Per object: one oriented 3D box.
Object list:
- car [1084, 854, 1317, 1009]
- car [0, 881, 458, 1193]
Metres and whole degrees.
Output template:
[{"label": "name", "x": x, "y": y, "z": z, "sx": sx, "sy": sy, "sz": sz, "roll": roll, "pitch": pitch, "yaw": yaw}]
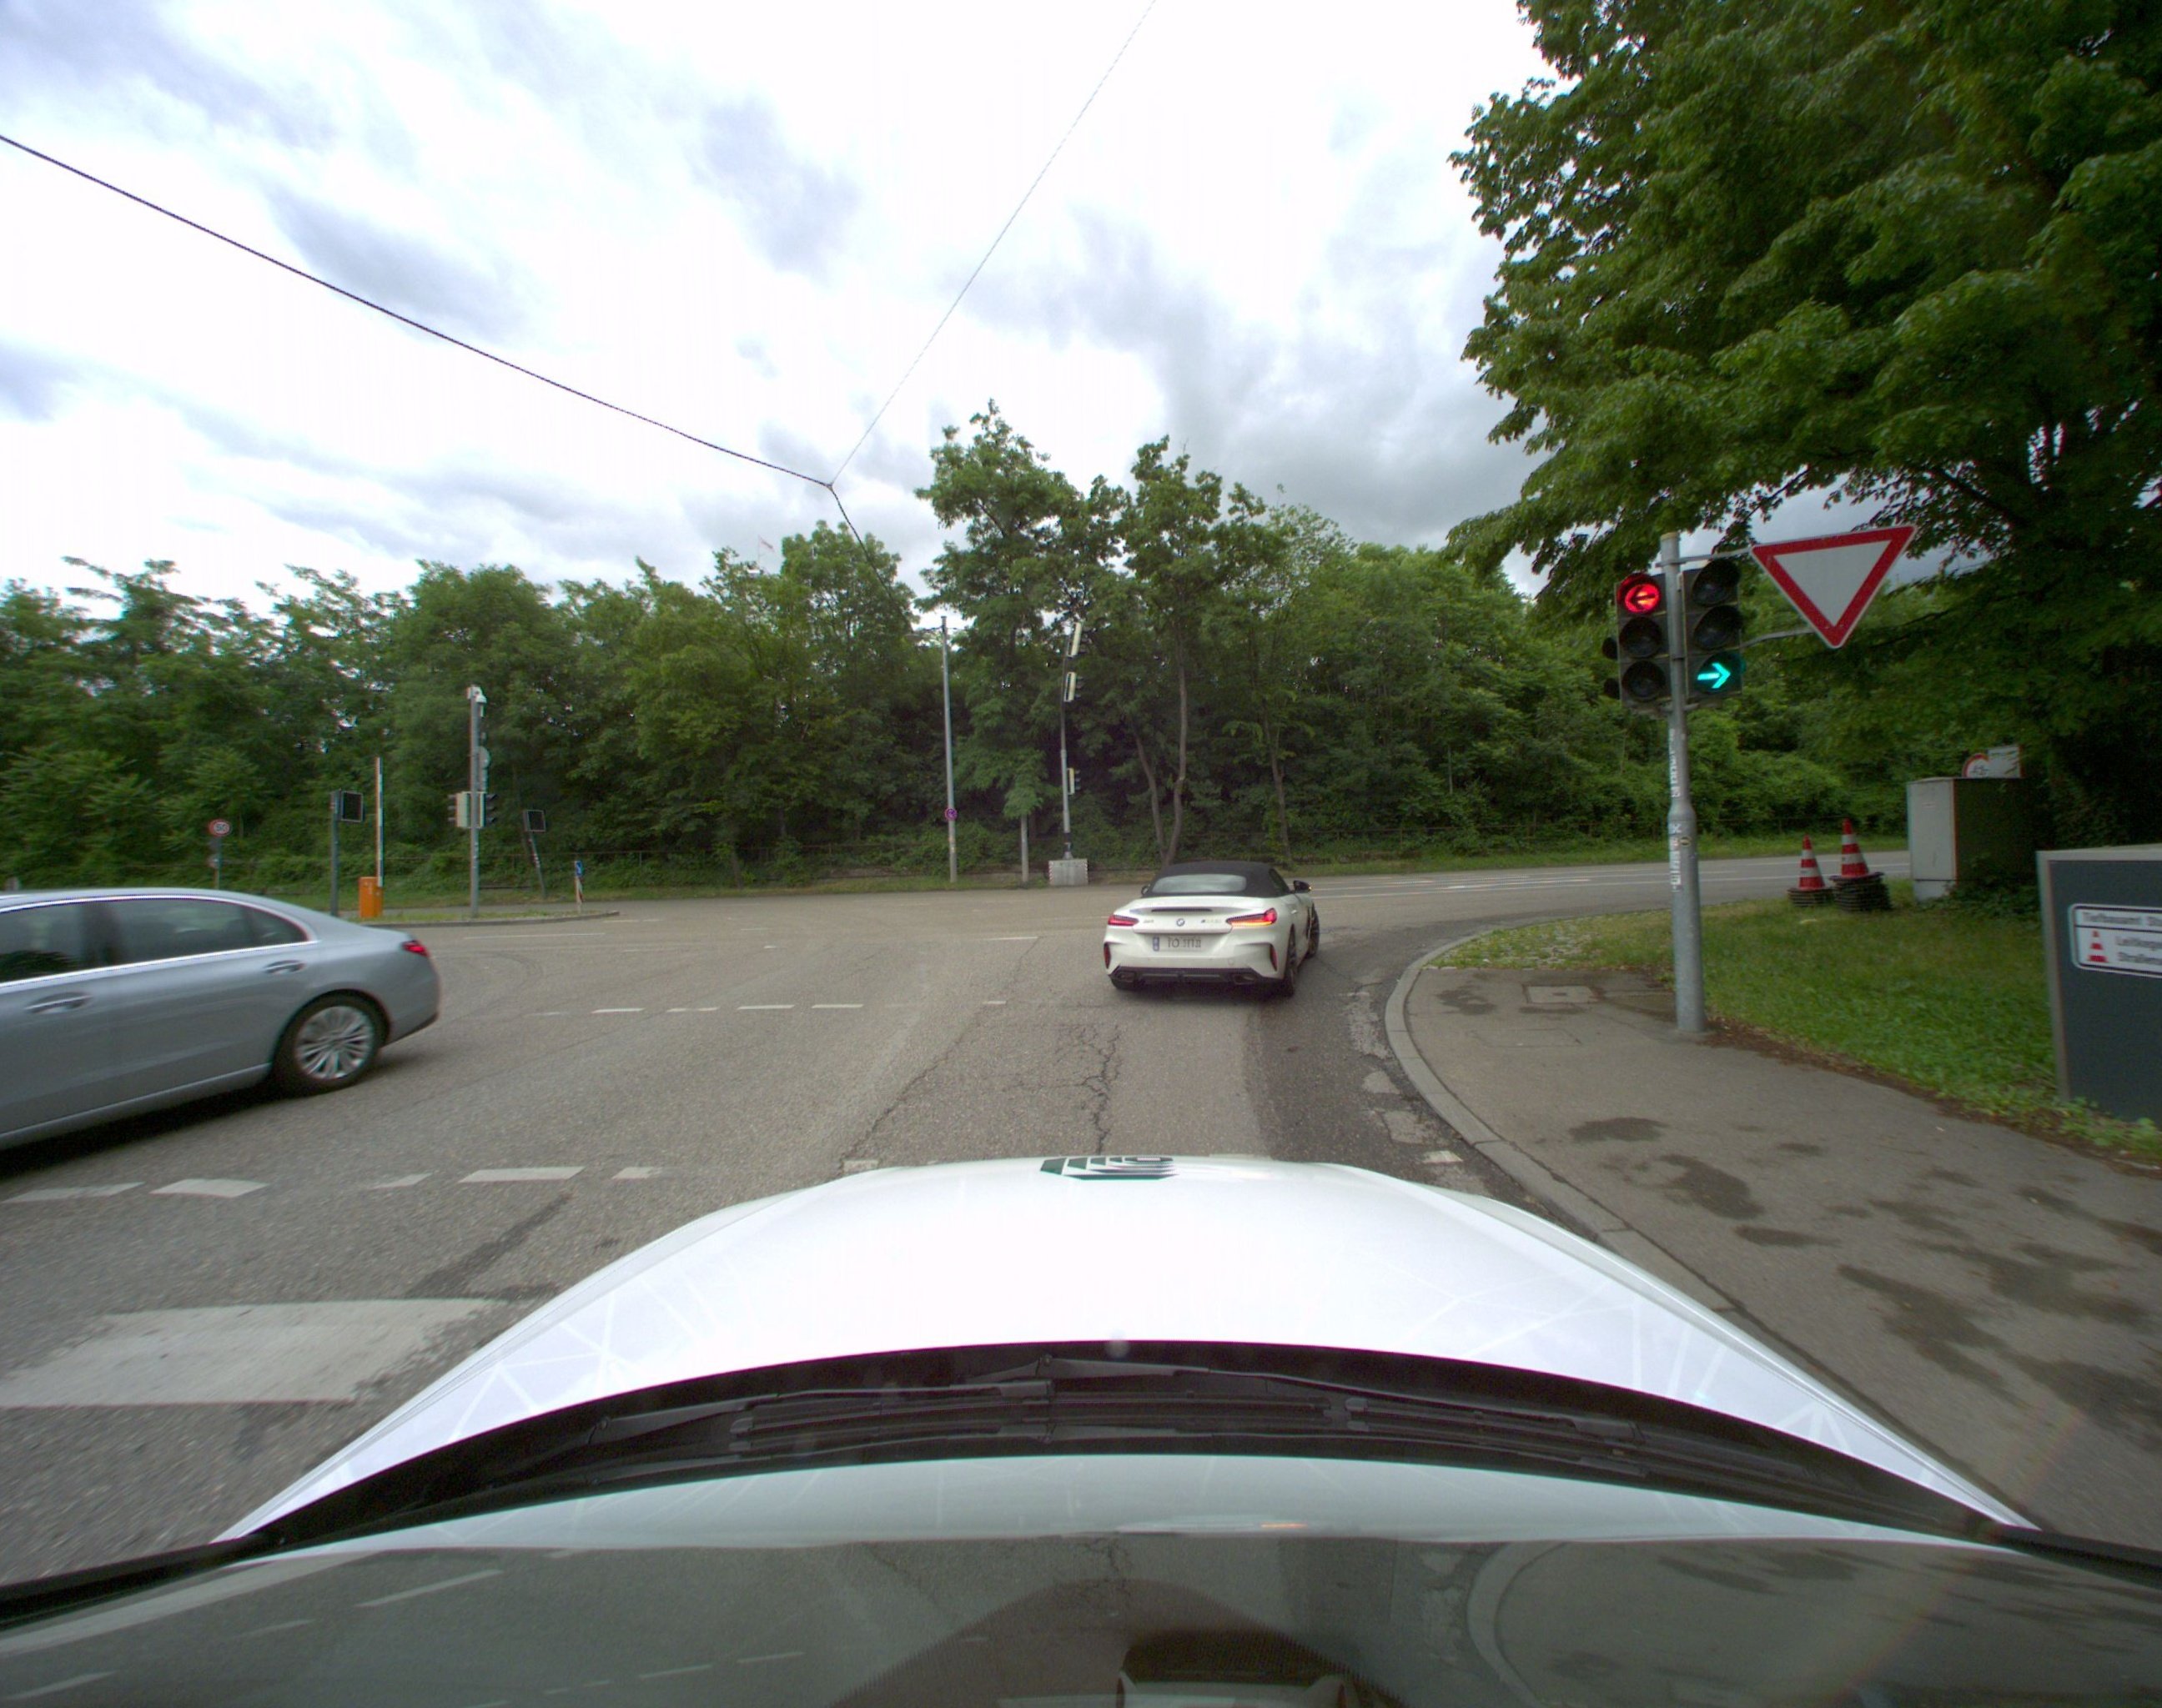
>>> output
[{"label": "car", "x": 1.580, "y": 0.716, "z": 9.277, "sx": 1.859, "sy": 1.309, "sz": 3.892, "roll": -2, "pitch": 0, "yaw": 19}, {"label": "car", "x": -5.919, "y": 0.925, "z": 4.178, "sx": 1.688, "sy": 1.398, "sz": 4.379, "roll": -2, "pitch": 0, "yaw": 7}]
